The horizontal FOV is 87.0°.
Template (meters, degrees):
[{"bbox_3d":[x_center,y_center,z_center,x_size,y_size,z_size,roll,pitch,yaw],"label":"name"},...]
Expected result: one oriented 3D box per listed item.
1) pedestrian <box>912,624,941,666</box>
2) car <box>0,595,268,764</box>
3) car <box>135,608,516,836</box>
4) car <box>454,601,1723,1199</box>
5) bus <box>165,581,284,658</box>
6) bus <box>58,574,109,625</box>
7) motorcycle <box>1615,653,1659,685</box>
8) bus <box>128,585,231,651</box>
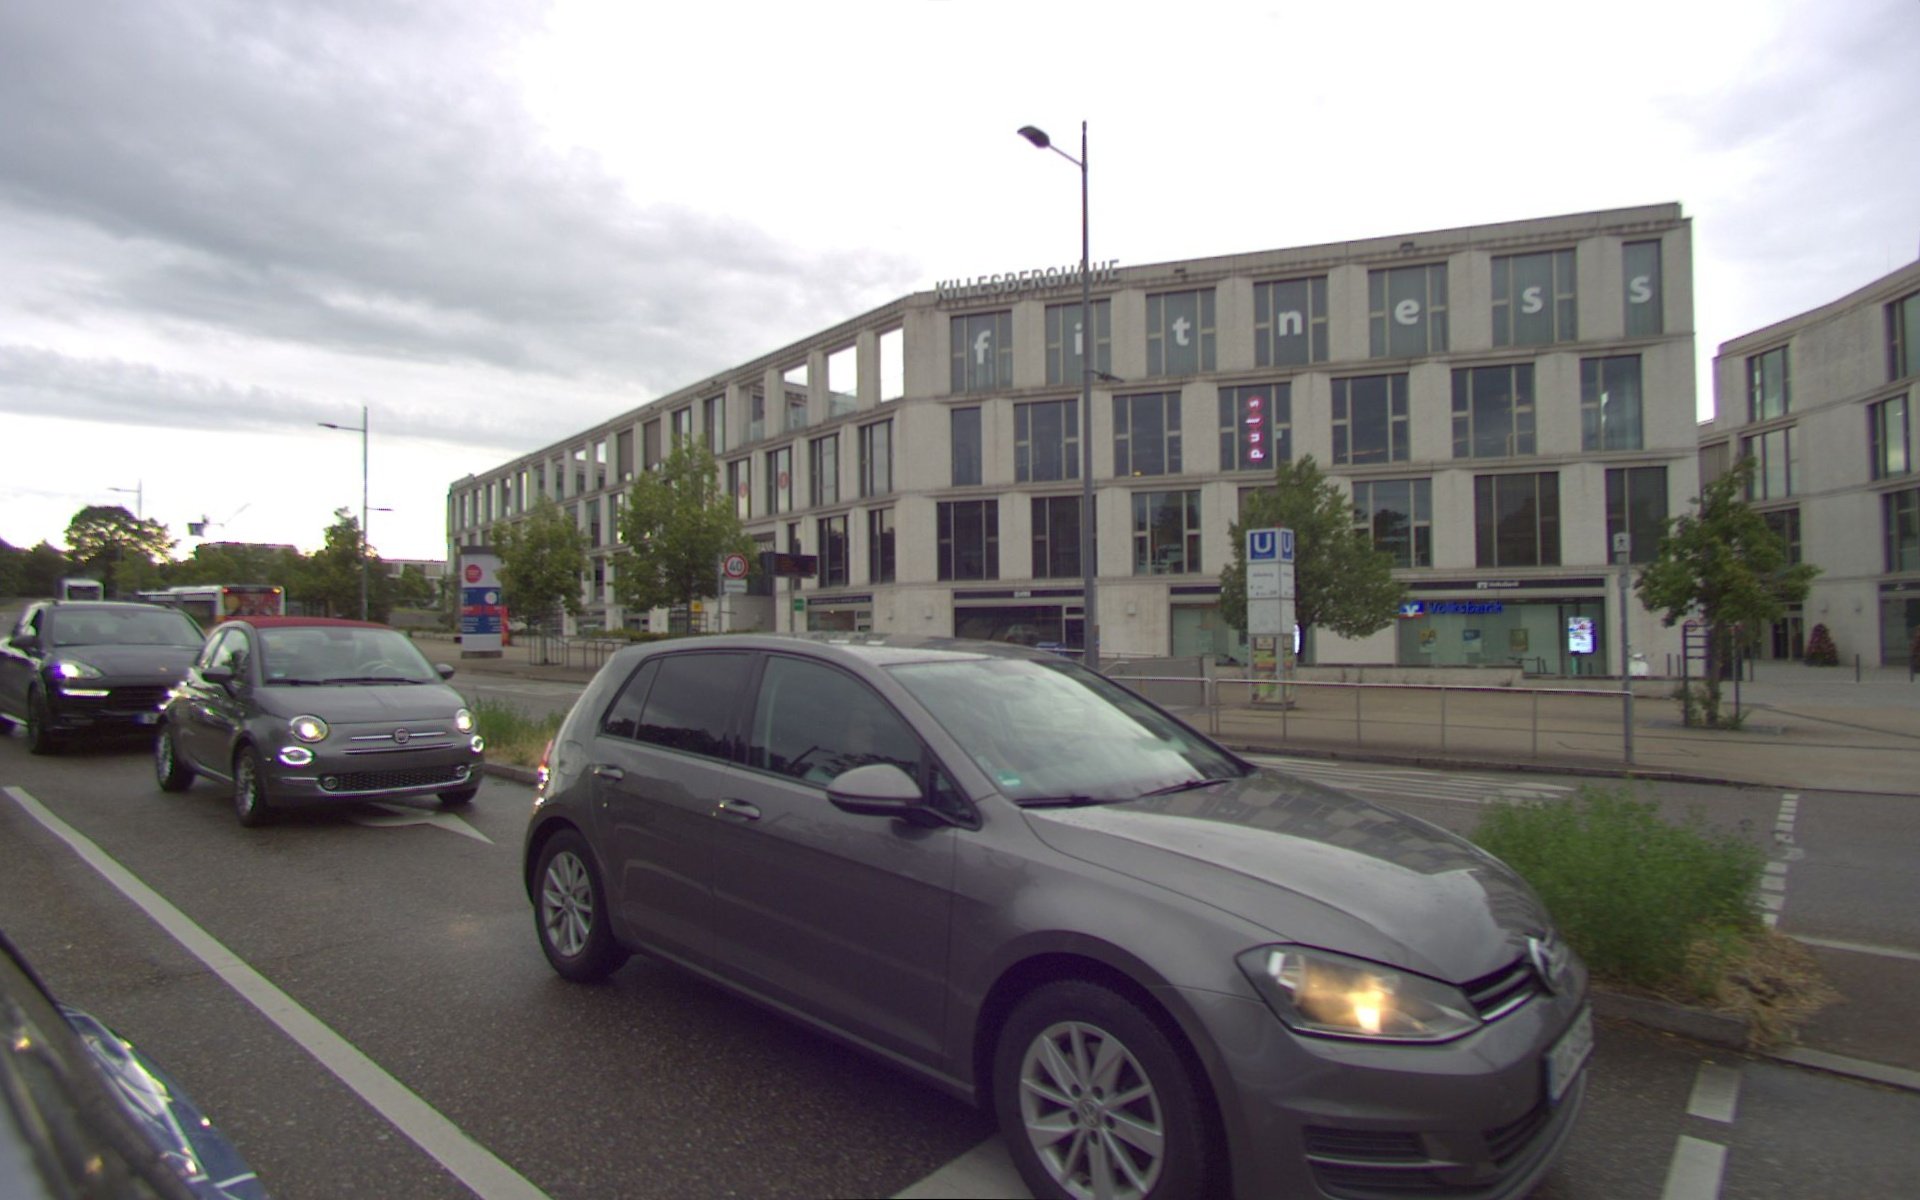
[{"bbox_3d":[-1.319,1.760,40.032,0.907,1.617,0.759,0,-2,19],"label":"pedestrian"},{"bbox_3d":[-10.267,0.826,12.216,4.613,1.671,1.910,-1,-2,39],"label":"car"},{"bbox_3d":[-5.341,0.834,8.380,3.502,1.492,1.611,-1,-2,39],"label":"car"},{"bbox_3d":[-0.008,0.789,3.718,4.374,1.492,1.797,-1,-2,41],"label":"car"},{"bbox_3d":[-34.153,0.859,46.816,9.207,3.236,2.722,-1,0,43],"label":"bus"},{"bbox_3d":[-79.348,0.013,91.877,2.717,4.185,19.383,0,0,-39],"label":"bus"},{"bbox_3d":[17.276,1.750,25.851,0.517,0.746,1.098,0,0,9],"label":"motorcycle"},{"bbox_3d":[-41.164,0.897,53.241,9.912,3.205,2.658,-1,0,43],"label":"bus"}]
